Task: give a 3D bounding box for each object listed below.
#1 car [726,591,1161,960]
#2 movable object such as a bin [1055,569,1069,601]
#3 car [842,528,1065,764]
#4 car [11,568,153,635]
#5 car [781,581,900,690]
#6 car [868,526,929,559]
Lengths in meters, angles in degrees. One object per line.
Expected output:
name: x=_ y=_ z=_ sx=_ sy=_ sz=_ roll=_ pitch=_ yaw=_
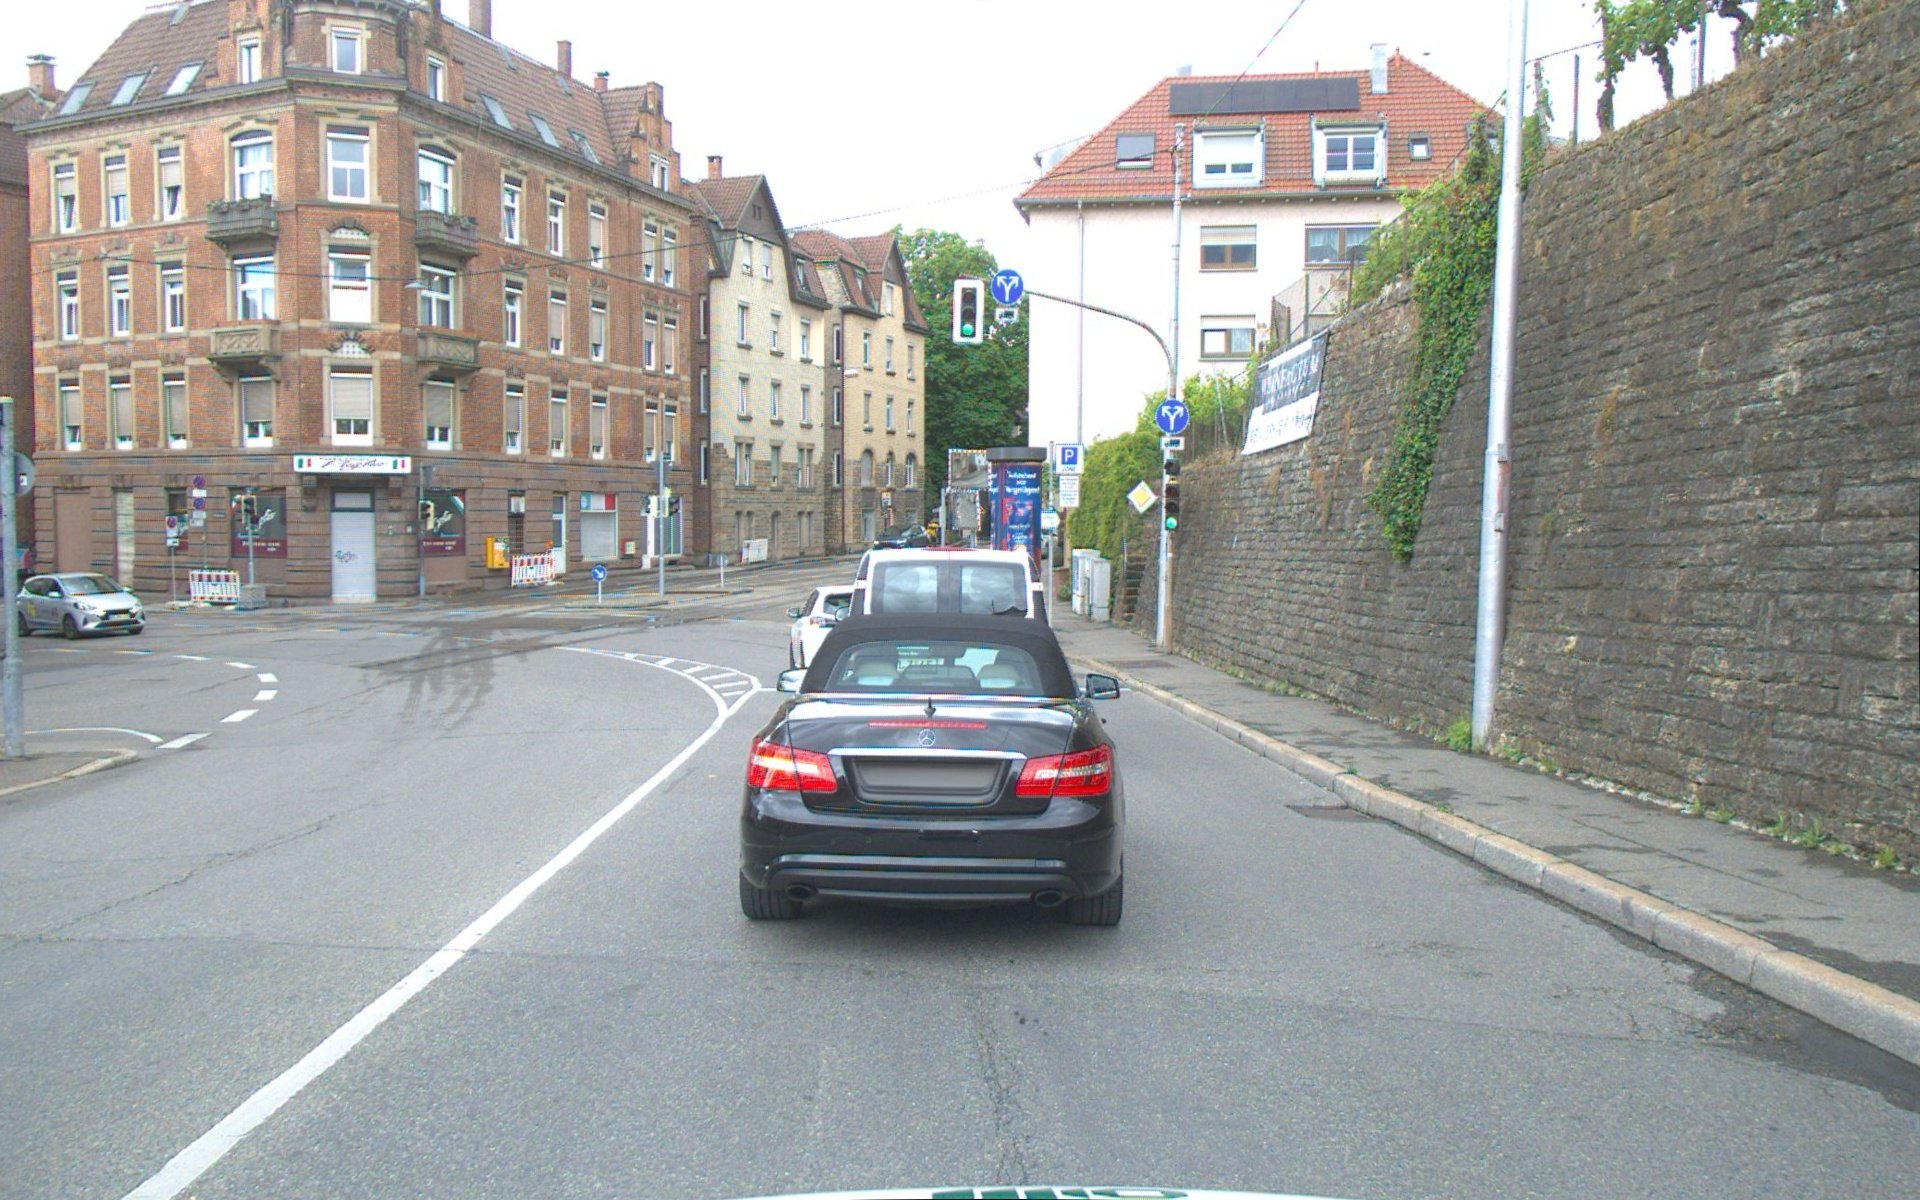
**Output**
car: x=-0.095 y=0.691 z=8.790 sx=1.726 sy=1.434 sz=4.398 roll=0 pitch=1 yaw=-1
movable object such as a bin: x=2.984 y=-0.436 z=48.349 sx=0.337 sy=0.927 sz=0.494 roll=0 pitch=1 yaw=-6
car: x=-0.092 y=0.358 z=16.155 sx=1.853 sy=1.962 sz=4.644 roll=0 pitch=1 yaw=-1
car: x=-21.214 y=0.016 z=39.921 sx=3.571 sy=1.493 sz=1.668 roll=1 pitch=1 yaw=36
car: x=-1.795 y=0.474 z=24.919 sx=1.648 sy=1.491 sz=3.915 roll=0 pitch=1 yaw=-4
car: x=-3.121 y=-2.959 z=85.009 sx=1.951 sy=1.541 sz=4.291 roll=0 pitch=4 yaw=14
